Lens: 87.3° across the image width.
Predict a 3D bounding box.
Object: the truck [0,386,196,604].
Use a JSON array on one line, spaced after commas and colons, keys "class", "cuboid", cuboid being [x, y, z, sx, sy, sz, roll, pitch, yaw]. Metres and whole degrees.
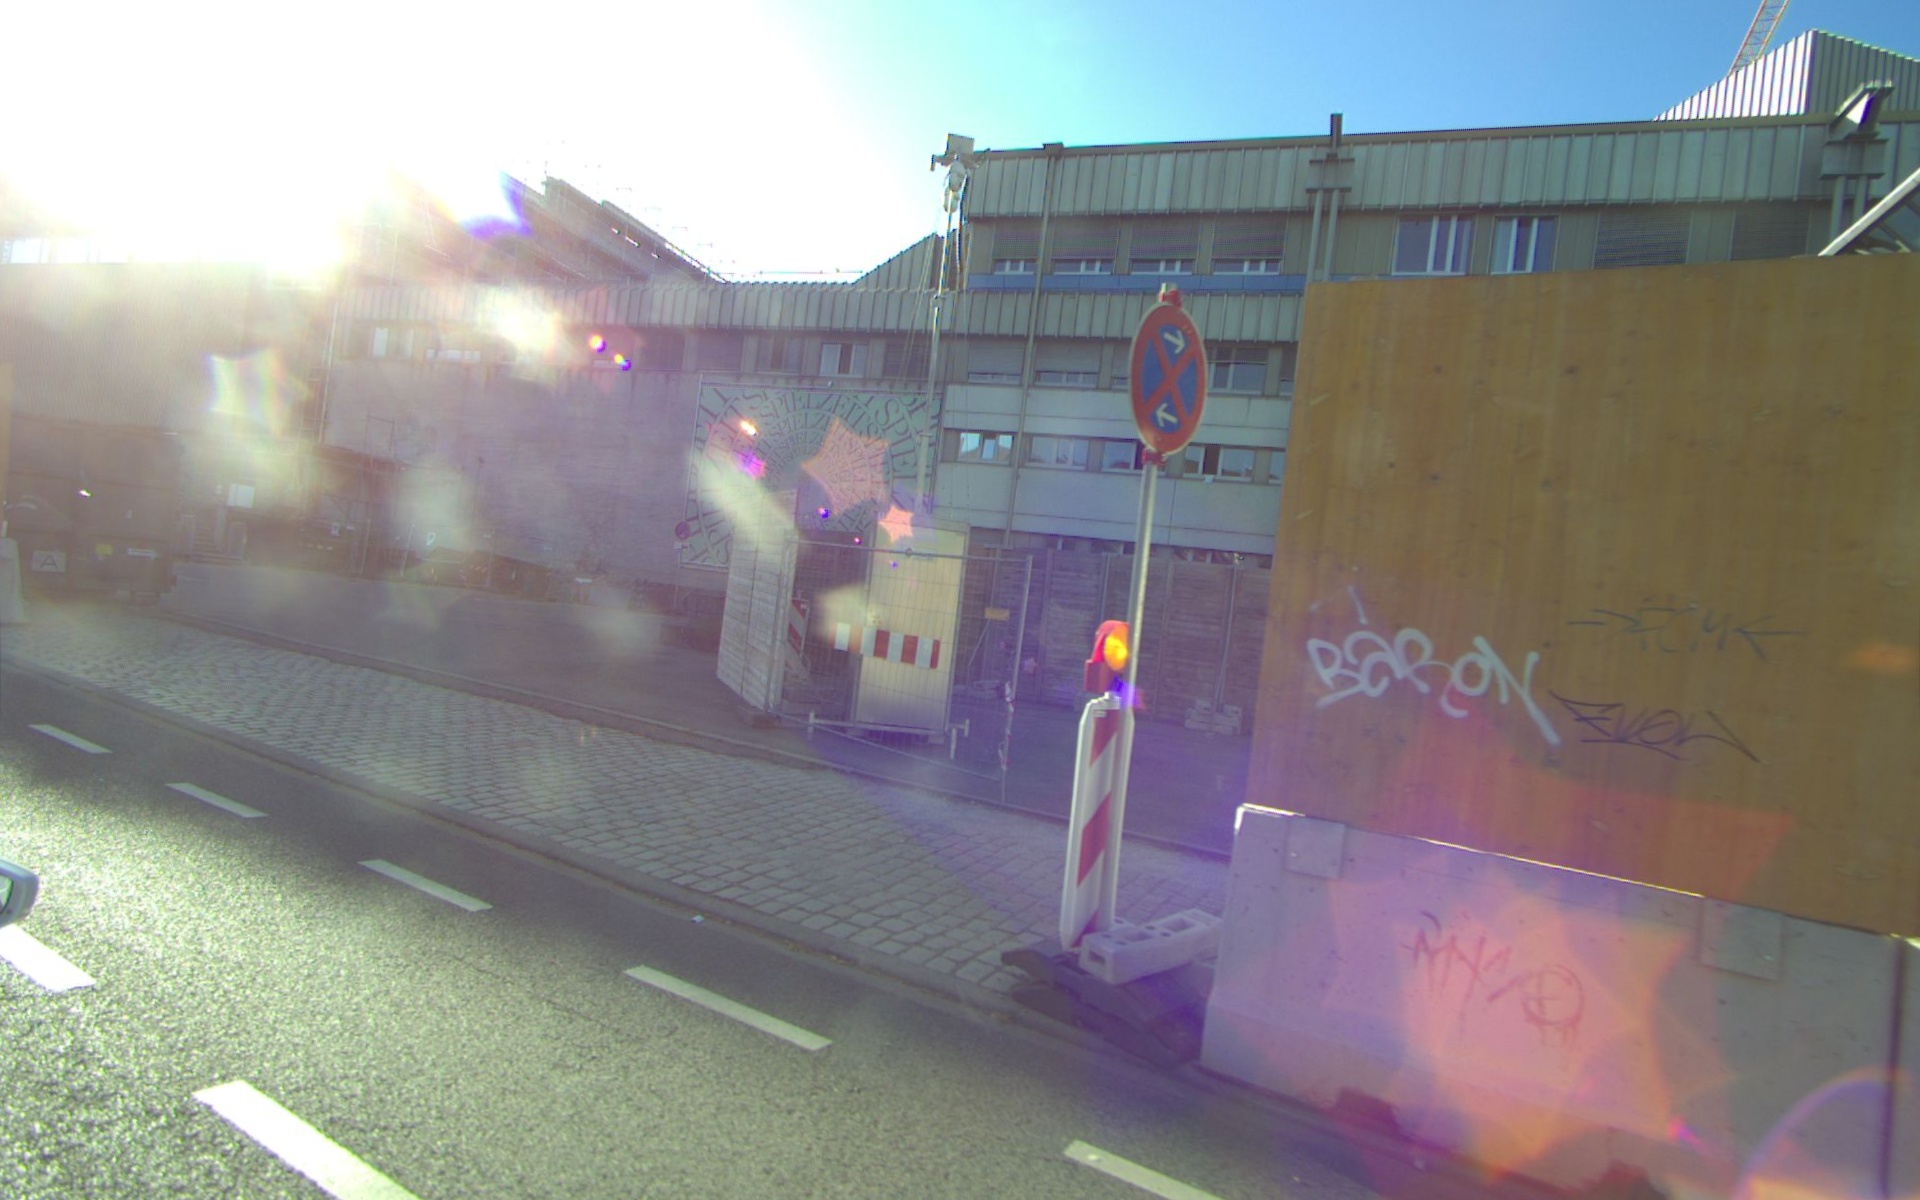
[{"class": "truck", "cuboid": [-15.142, -1.717, 16.281, 5.415, 2.947, 2.521, 7, 2, 31]}]
